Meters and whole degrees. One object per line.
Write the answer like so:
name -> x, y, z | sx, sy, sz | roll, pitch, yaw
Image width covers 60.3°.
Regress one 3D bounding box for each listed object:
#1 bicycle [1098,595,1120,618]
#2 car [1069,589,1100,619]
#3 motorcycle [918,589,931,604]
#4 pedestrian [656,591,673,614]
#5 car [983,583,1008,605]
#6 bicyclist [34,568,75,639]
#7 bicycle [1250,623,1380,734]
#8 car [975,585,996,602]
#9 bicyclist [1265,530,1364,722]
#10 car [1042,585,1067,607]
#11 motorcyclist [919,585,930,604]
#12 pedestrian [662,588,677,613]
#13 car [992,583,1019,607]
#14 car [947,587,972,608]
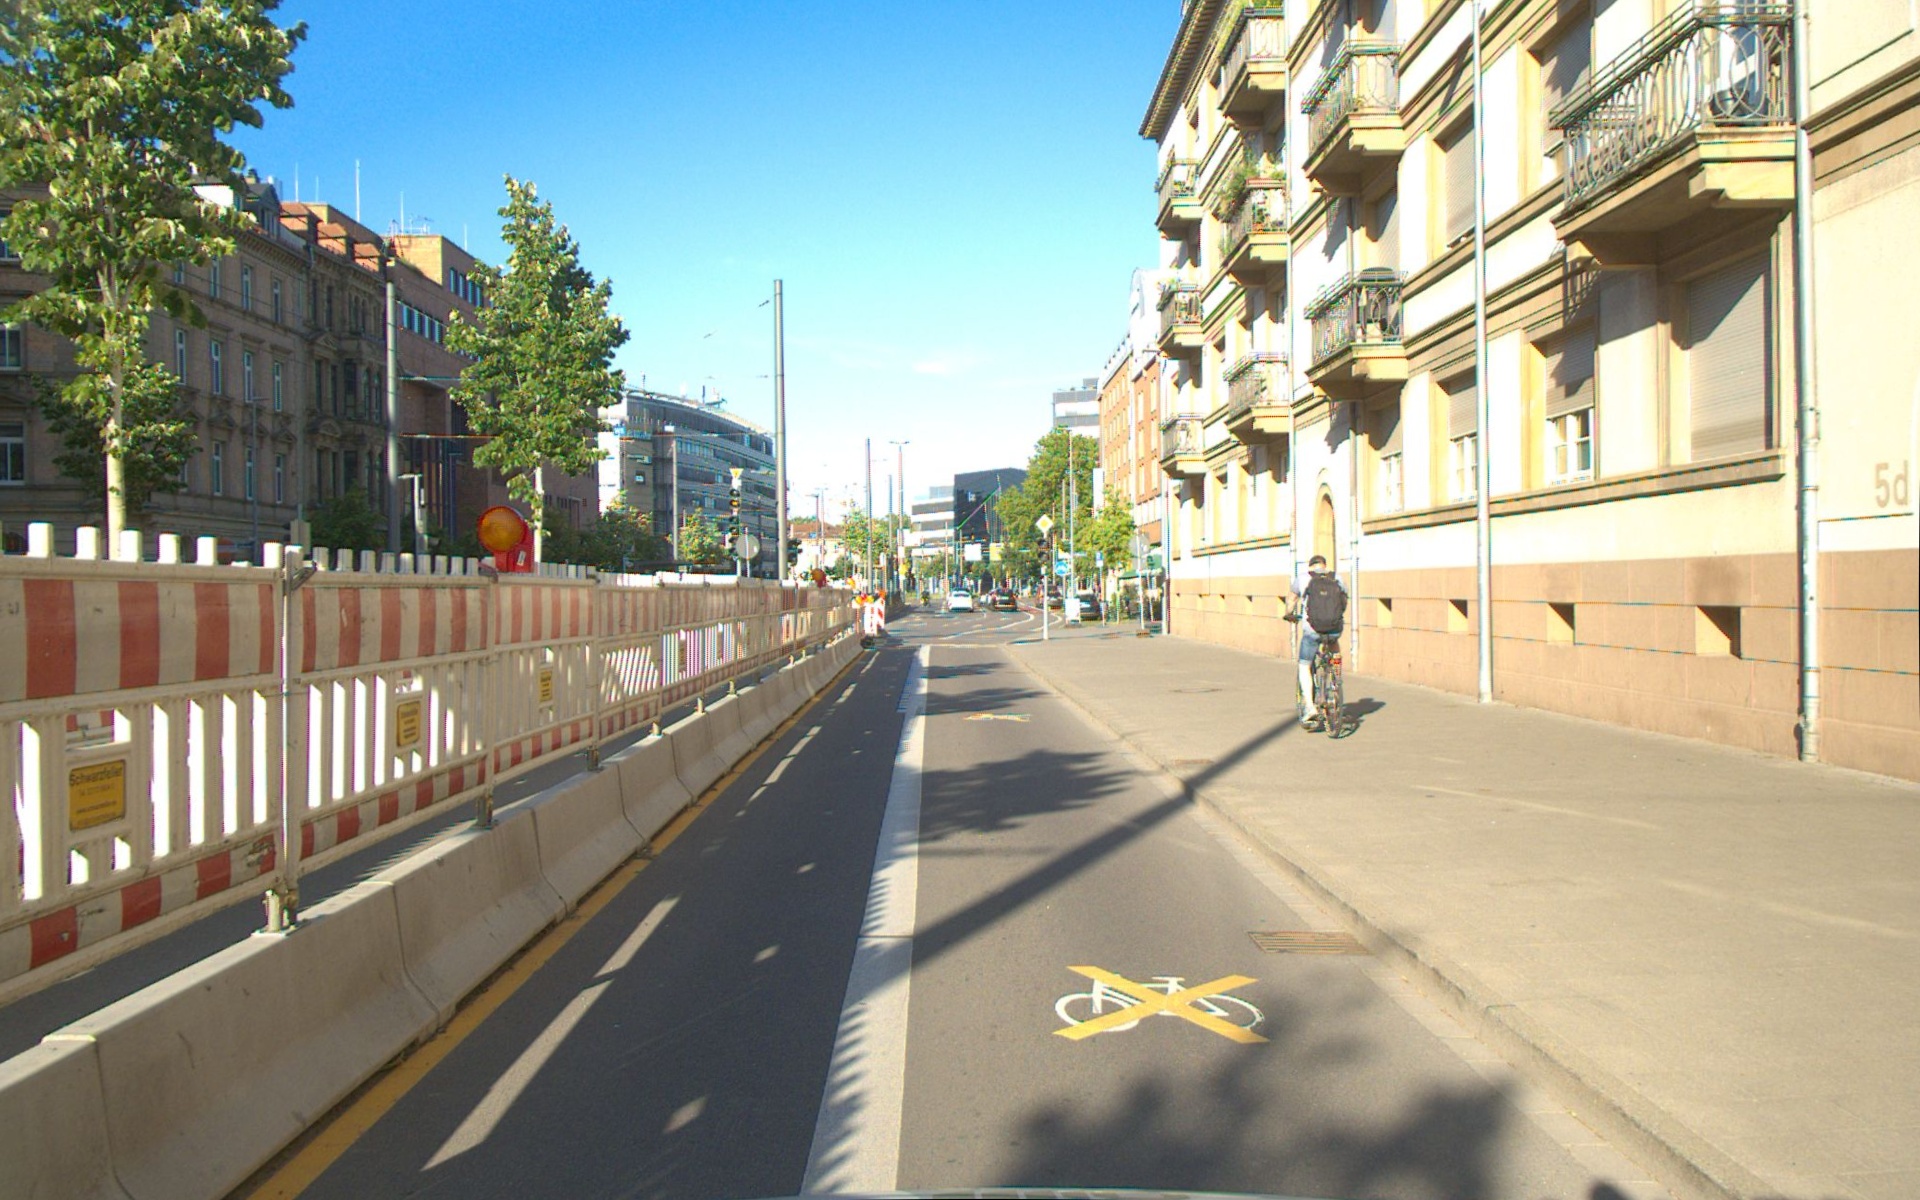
bicycle -> 7.860, 0.359, 87.431 | 0.750, 1.100, 1.996 | -6, -1, -4
car -> 7.349, 0.229, 97.356 | 1.684, 1.665, 4.234 | -1, 0, 6
motorcycle -> -3.140, -0.306, 146.355 | 0.998, 1.335, 2.914 | 1, 0, 0
pedestrian -> -15.508, 0.131, 86.706 | 0.706, 1.188, 0.721 | -3, 0, -1
car -> 2.857, -0.507, 134.188 | 1.813, 1.668, 4.378 | -1, 0, -1
bicyclist -> -23.486, 0.089, 42.917 | 0.871, 1.805, 0.848 | -1, 0, -27
bicycle -> 3.452, 0.737, 16.297 | 0.752, 0.969, 2.197 | -1, 0, -1
car -> 2.336, -0.613, 151.107 | 1.813, 1.524, 4.378 | -1, 0, -1
bicyclist -> 3.434, 0.244, 16.064 | 0.718, 1.794, 0.937 | -1, 0, -1
car -> 7.921, -0.348, 138.534 | 1.809, 1.587, 4.633 | 1, 2, 0
motorcyclist -> -3.142, -0.484, 146.422 | 0.998, 1.631, 1.148 | 1, 0, 0
pedestrian -> -15.598, 0.036, 88.744 | 0.633, 1.331, 0.721 | -3, 0, -1
car -> 3.461, -0.389, 126.255 | 1.934, 1.790, 4.632 | 1, 0, 0
car -> -0.065, -0.203, 120.670 | 1.744, 1.439, 4.818 | 1, 0, -1
